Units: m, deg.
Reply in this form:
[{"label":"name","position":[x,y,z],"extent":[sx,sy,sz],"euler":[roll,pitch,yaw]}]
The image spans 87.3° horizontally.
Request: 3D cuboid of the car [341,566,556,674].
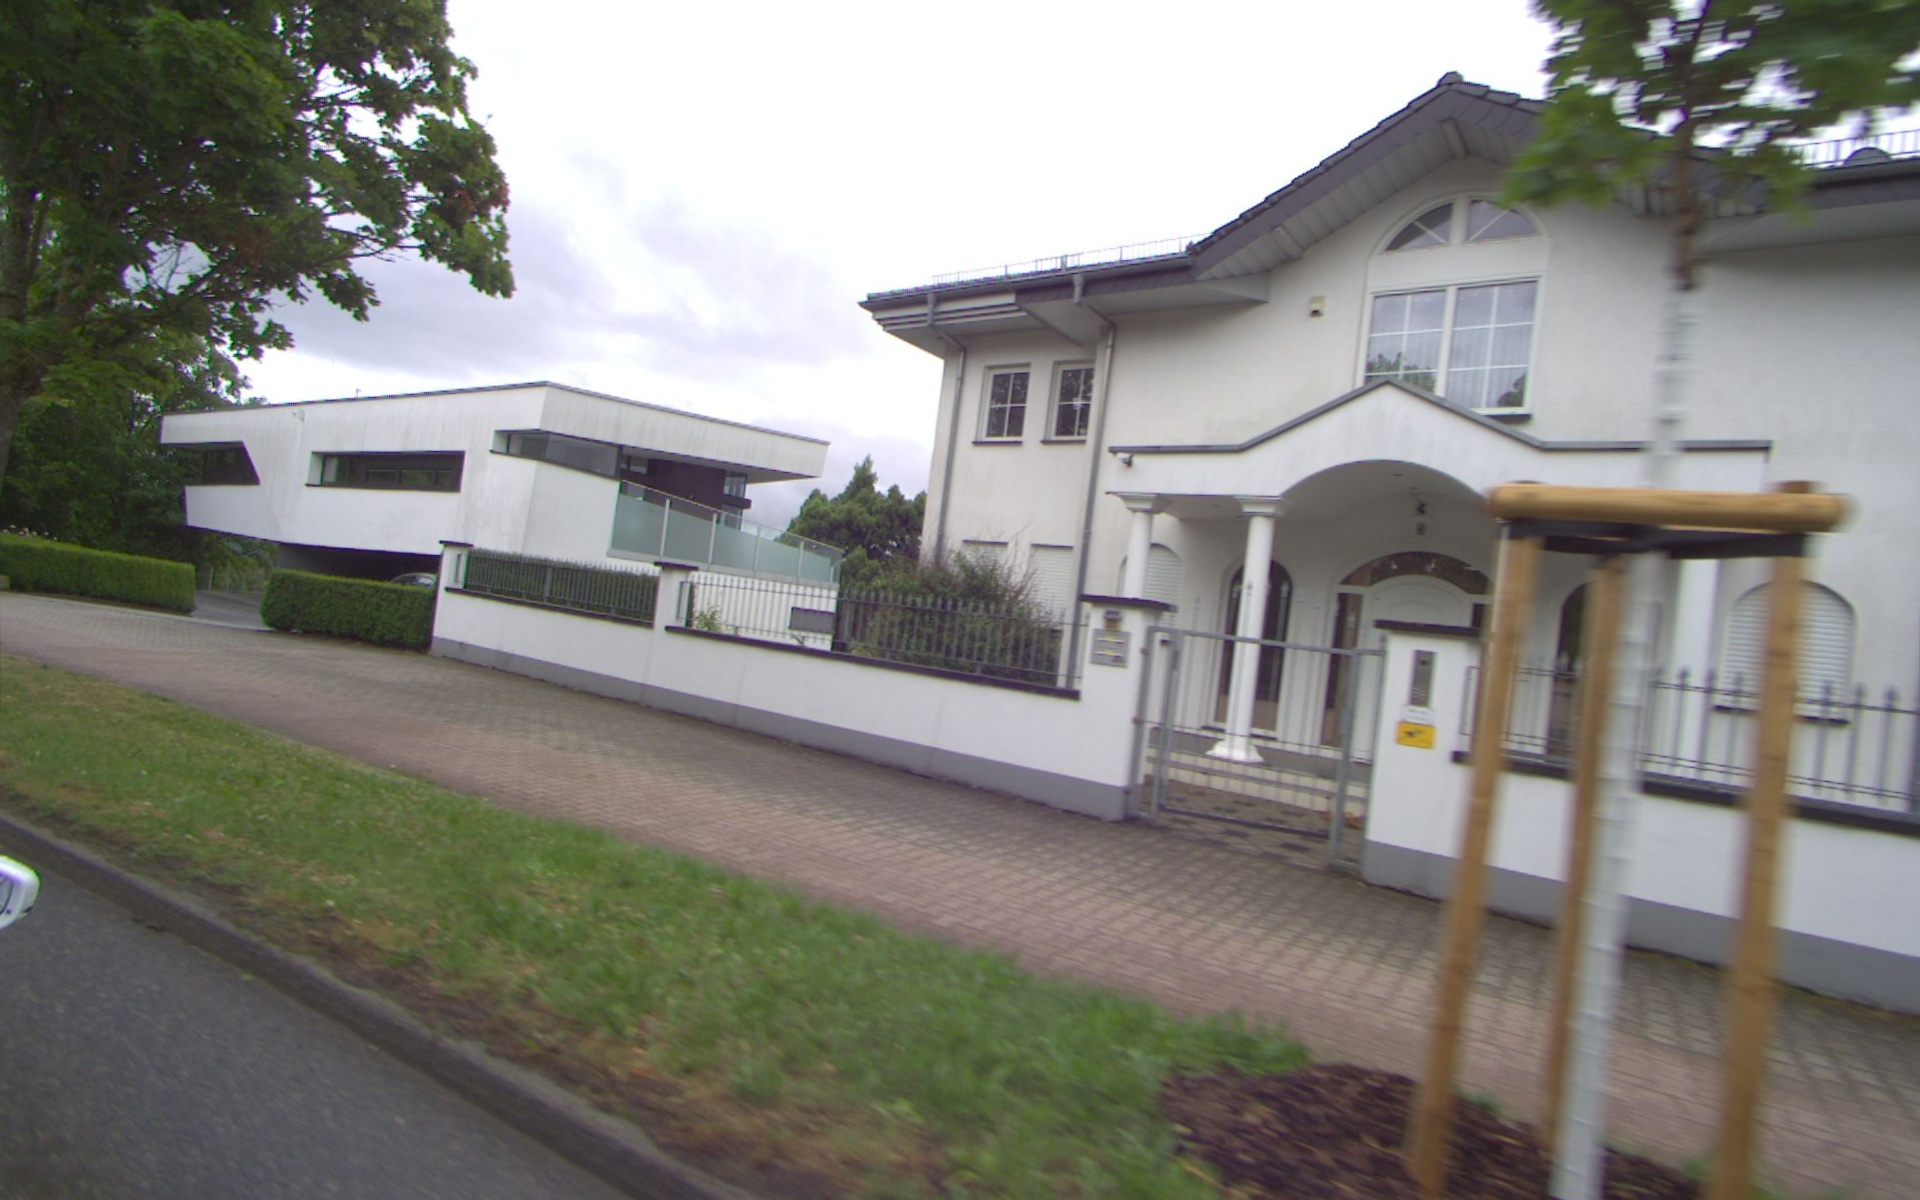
[{"label":"car","position":[-10.349,0.372,20.246],"extent":[4.392,1.566,1.924],"euler":[6,-4,36]}]
